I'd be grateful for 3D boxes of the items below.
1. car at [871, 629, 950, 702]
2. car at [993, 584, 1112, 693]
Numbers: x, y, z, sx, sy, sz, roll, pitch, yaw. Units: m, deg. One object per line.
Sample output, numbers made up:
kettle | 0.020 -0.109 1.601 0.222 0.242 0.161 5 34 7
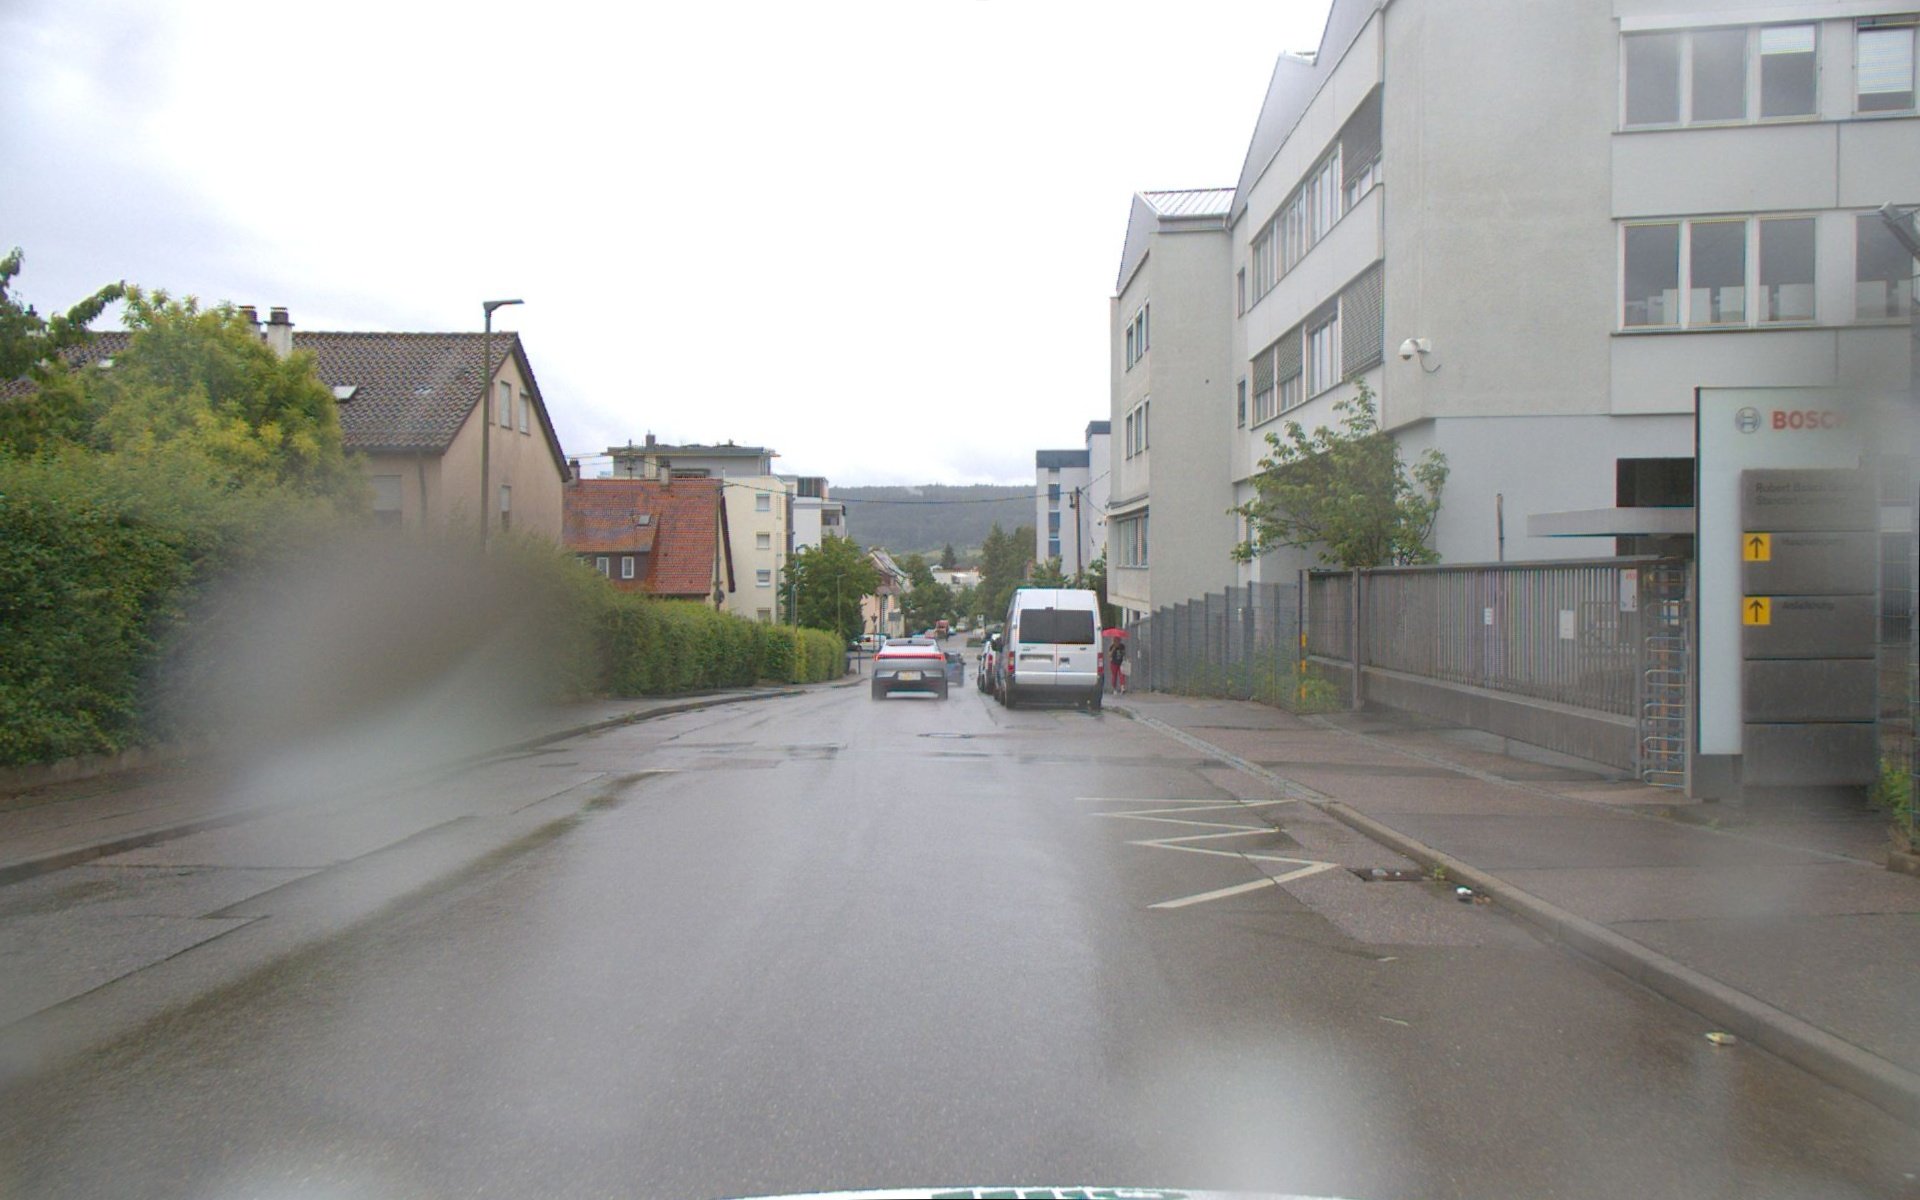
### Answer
car | -1.252 1.657 43.349 1.953 1.528 4.670 0 2 -1
car | 1.811 0.785 33.674 1.954 2.049 3.997 -1 -1 -3
